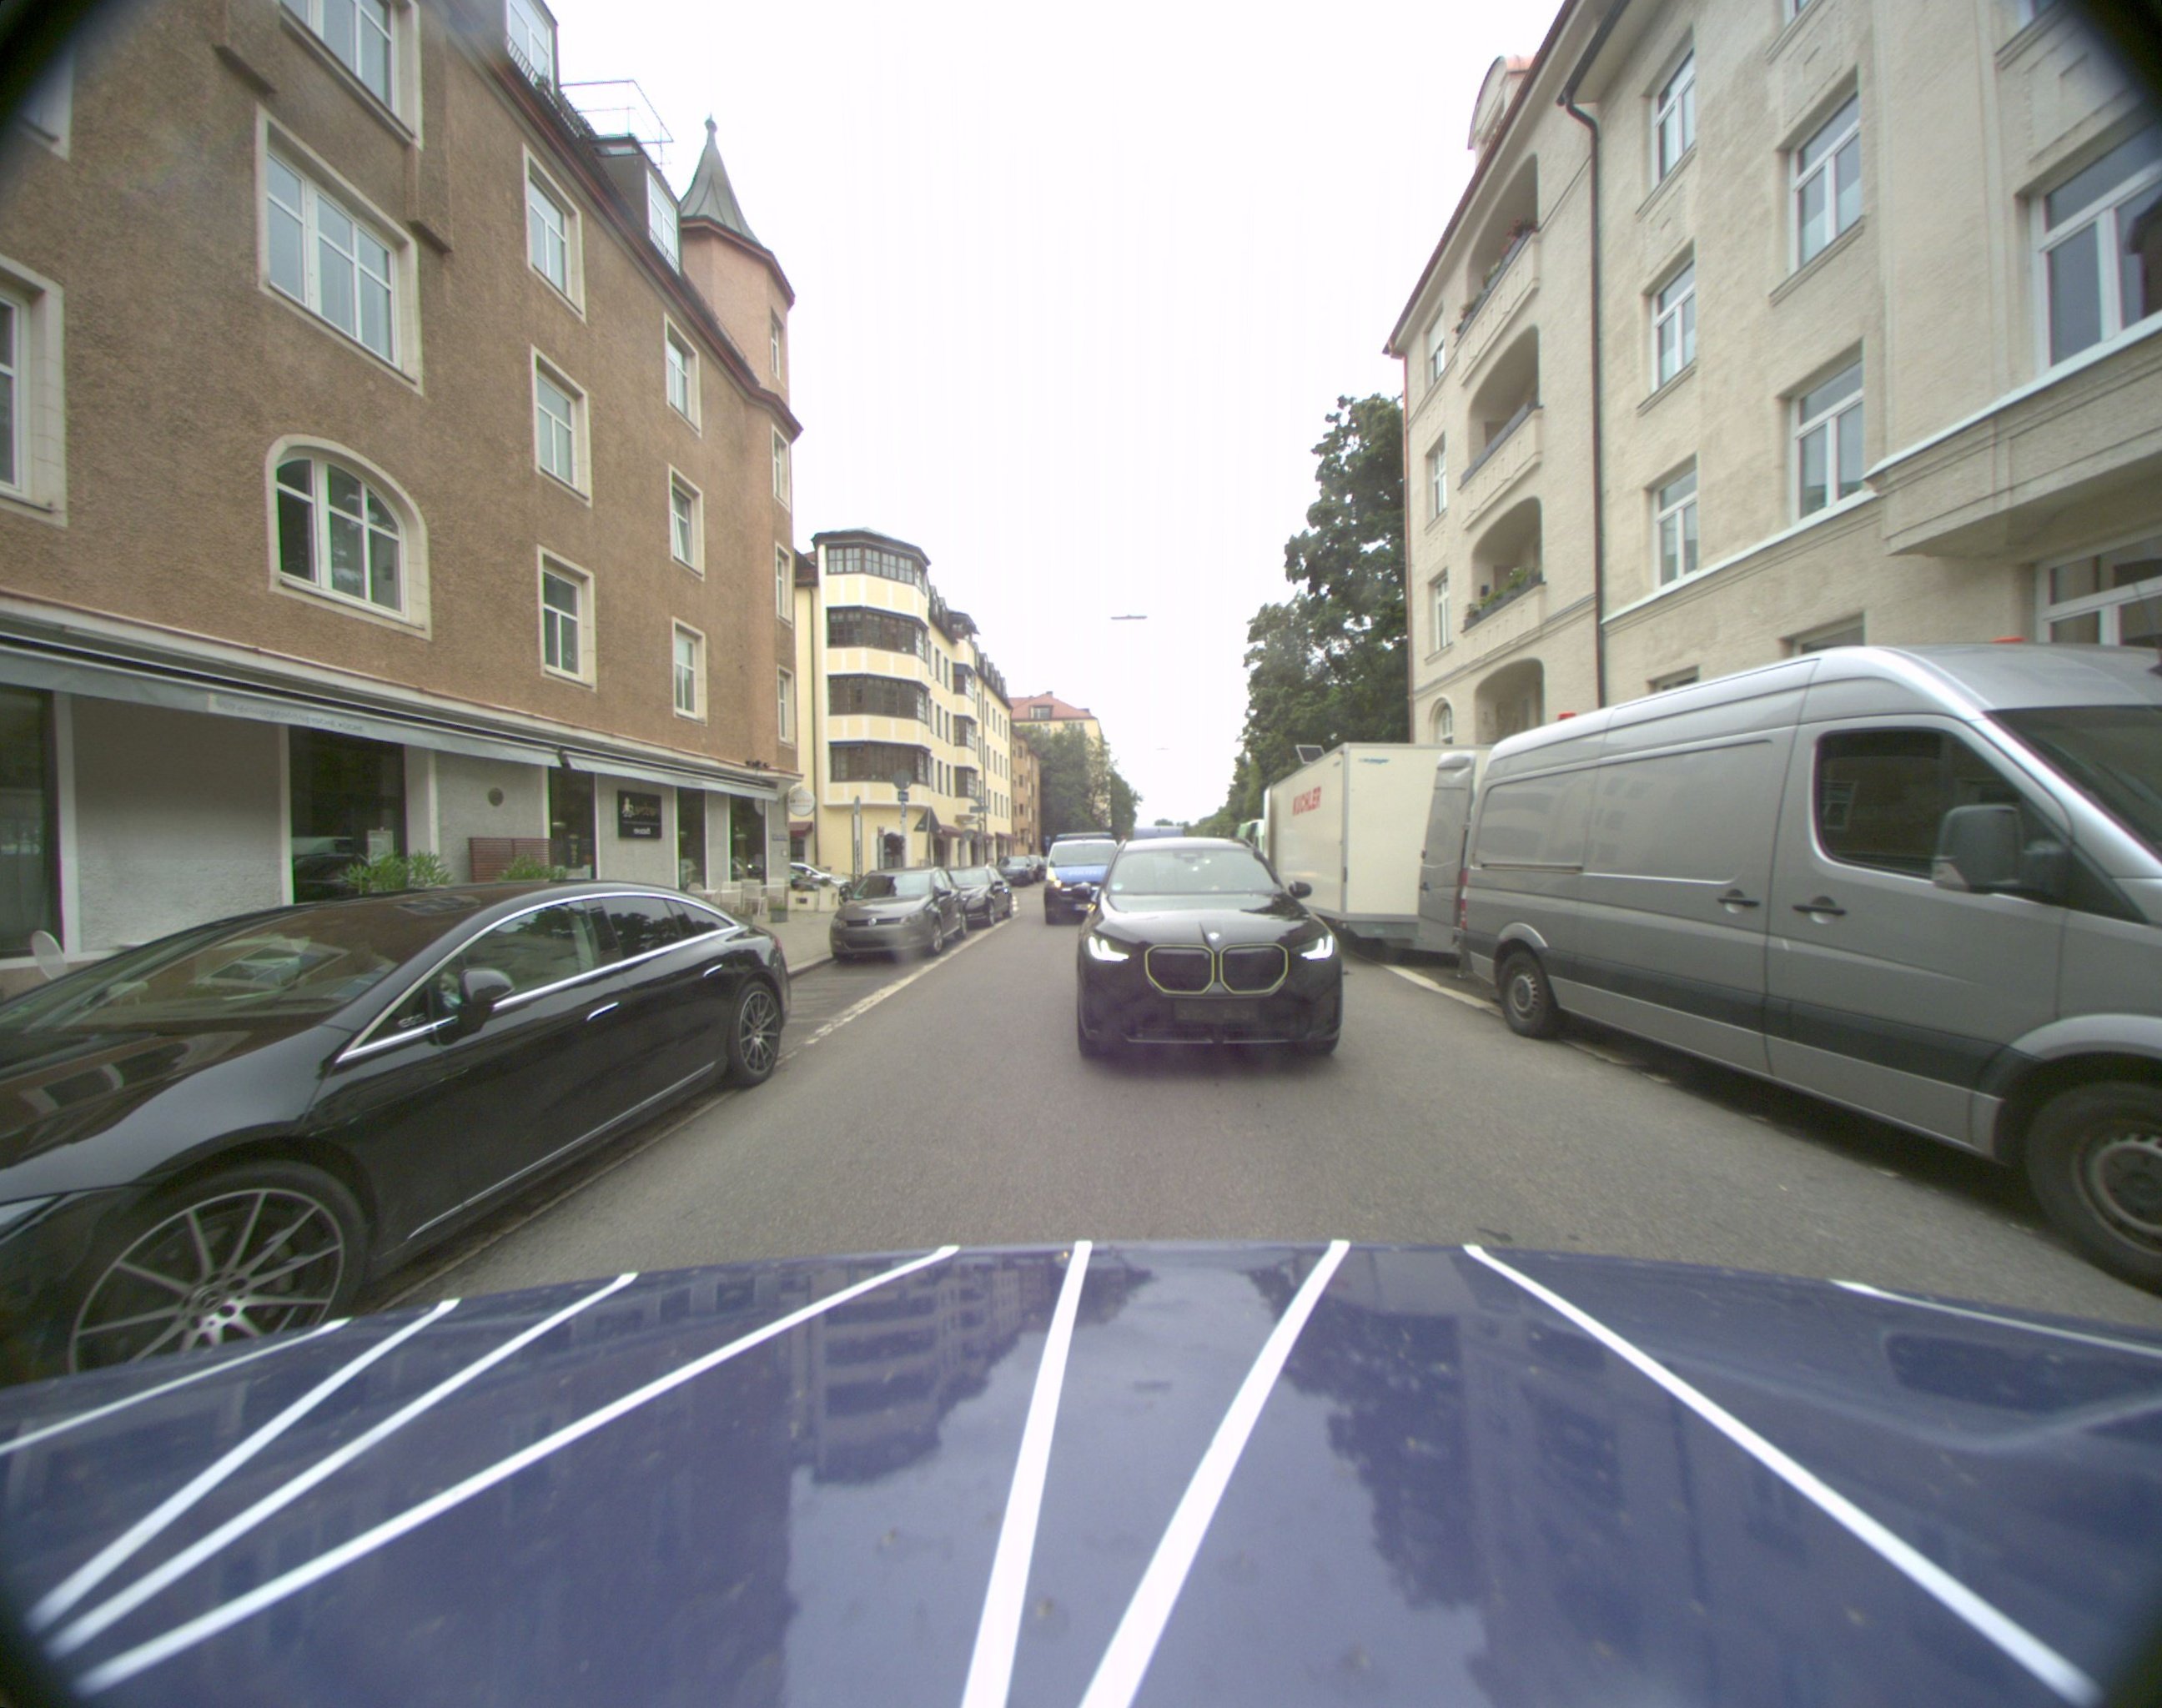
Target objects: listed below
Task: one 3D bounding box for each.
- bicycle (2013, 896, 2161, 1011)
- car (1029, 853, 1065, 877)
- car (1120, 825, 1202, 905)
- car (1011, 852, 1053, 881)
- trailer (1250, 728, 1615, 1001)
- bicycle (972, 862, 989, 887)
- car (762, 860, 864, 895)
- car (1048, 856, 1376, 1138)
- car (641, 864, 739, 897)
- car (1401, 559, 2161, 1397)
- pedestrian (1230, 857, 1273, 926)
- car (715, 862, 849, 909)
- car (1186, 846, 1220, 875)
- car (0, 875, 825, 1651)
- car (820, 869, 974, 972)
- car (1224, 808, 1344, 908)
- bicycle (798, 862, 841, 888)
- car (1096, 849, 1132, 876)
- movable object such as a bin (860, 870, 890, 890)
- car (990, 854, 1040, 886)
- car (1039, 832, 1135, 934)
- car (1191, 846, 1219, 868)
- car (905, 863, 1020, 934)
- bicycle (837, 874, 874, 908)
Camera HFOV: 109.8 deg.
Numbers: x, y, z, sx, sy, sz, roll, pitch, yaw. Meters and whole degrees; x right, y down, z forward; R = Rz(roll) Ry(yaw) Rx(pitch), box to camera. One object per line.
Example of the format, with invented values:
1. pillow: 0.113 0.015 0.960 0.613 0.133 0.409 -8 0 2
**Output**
1. bicycle: 9.811 0.918 7.007 0.416 0.909 1.757 -4 1 8
2. car: -2.291 0.727 52.518 1.763 1.514 3.934 1 1 8
3. car: 2.991 0.283 26.929 2.003 2.477 6.238 -1 1 14
4. car: -3.005 0.727 47.438 1.817 1.580 4.165 3 1 7
5. trailer: 4.742 0.121 12.274 2.809 2.951 7.602 2 0 5
6. bicycle: -5.070 1.003 38.239 0.430 1.152 2.053 0 1 4
7. car: -11.524 1.024 32.767 3.741 1.431 1.753 0 -2 7
8. car: 1.001 0.849 6.666 1.920 1.557 4.295 0 1 6
9. car: -17.042 1.145 33.229 3.451 1.329 1.640 0 1 6
10. car: 4.452 0.396 4.782 2.061 2.572 6.877 3 0 2
11. pedestrian: 3.991 0.854 17.794 0.764 1.571 0.636 -1 1 -15
12. car: -10.405 1.083 26.596 3.881 1.479 1.892 -1 1 3
13. car: 7.311 0.342 45.795 1.816 1.580 4.166 3 1 7
14. car: -3.302 0.997 3.811 1.935 1.544 5.637 -2 0 2
15. car: -3.045 1.035 13.433 1.576 1.386 4.182 -1 1 2
16. car: 5.916 0.106 23.170 2.146 2.557 6.795 -1 0 3
17. bicycle: -12.459 1.006 36.213 1.904 1.180 0.515 -1 1 4
18. car: 2.101 0.485 47.260 1.997 1.587 4.001 0 1 6
19. movable object such as a bin: -9.312 1.181 34.392 1.125 0.895 0.684 0 1 4
20. car: -3.599 0.817 42.222 2.111 1.613 4.497 -1 1 3
21. car: 0.320 0.595 18.840 1.826 2.086 5.635 -2 0 5
22. car: 9.028 0.189 55.464 1.816 1.455 4.166 3 1 8
23. car: -2.757 0.989 18.803 1.851 1.397 4.788 -1 0 3
24. bicycle: -7.151 1.150 24.181 0.496 0.999 1.804 1 -1 5
